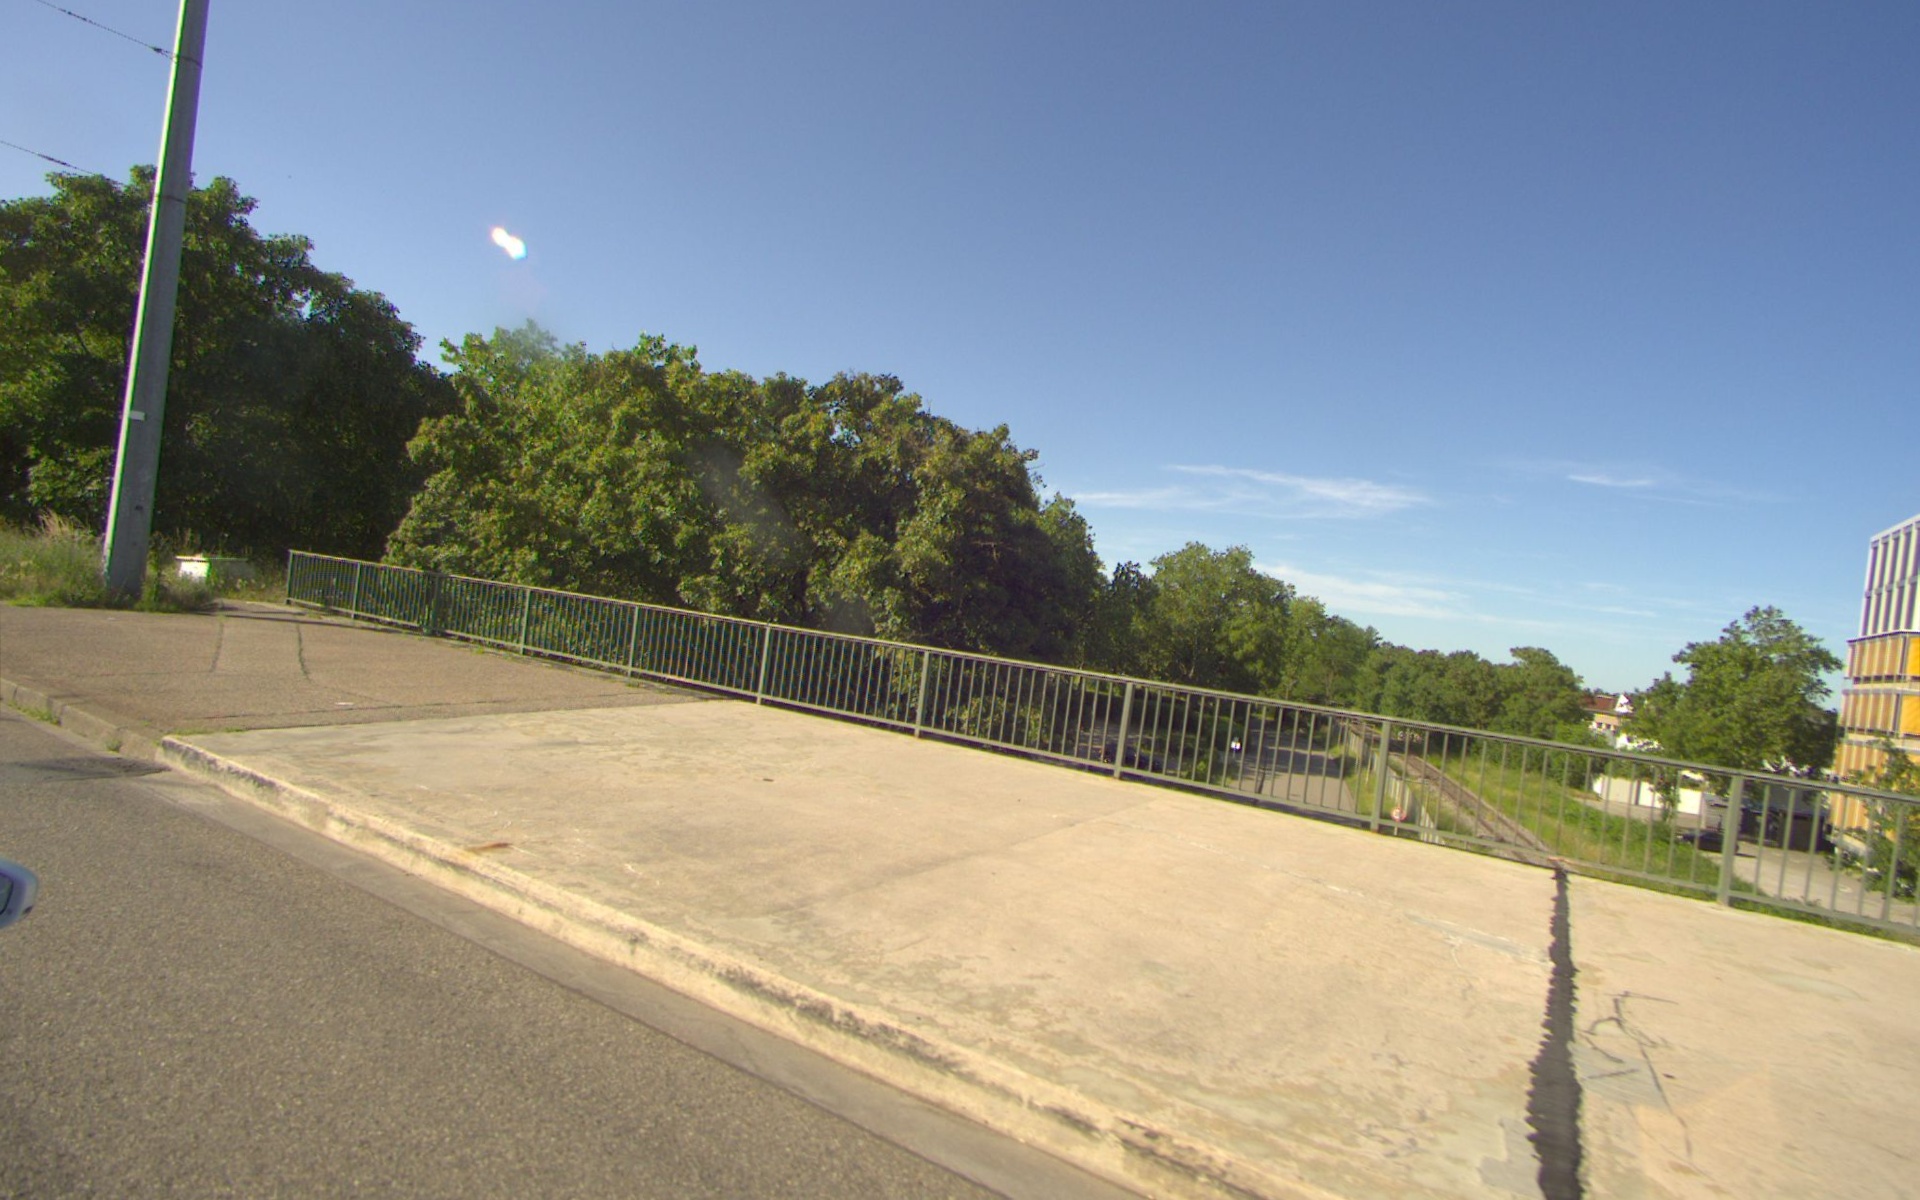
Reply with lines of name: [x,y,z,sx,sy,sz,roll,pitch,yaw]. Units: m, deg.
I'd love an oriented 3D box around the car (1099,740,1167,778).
car: [11.414,10.473,66.504,3.927,1.658,1.845,9,-1,23]
